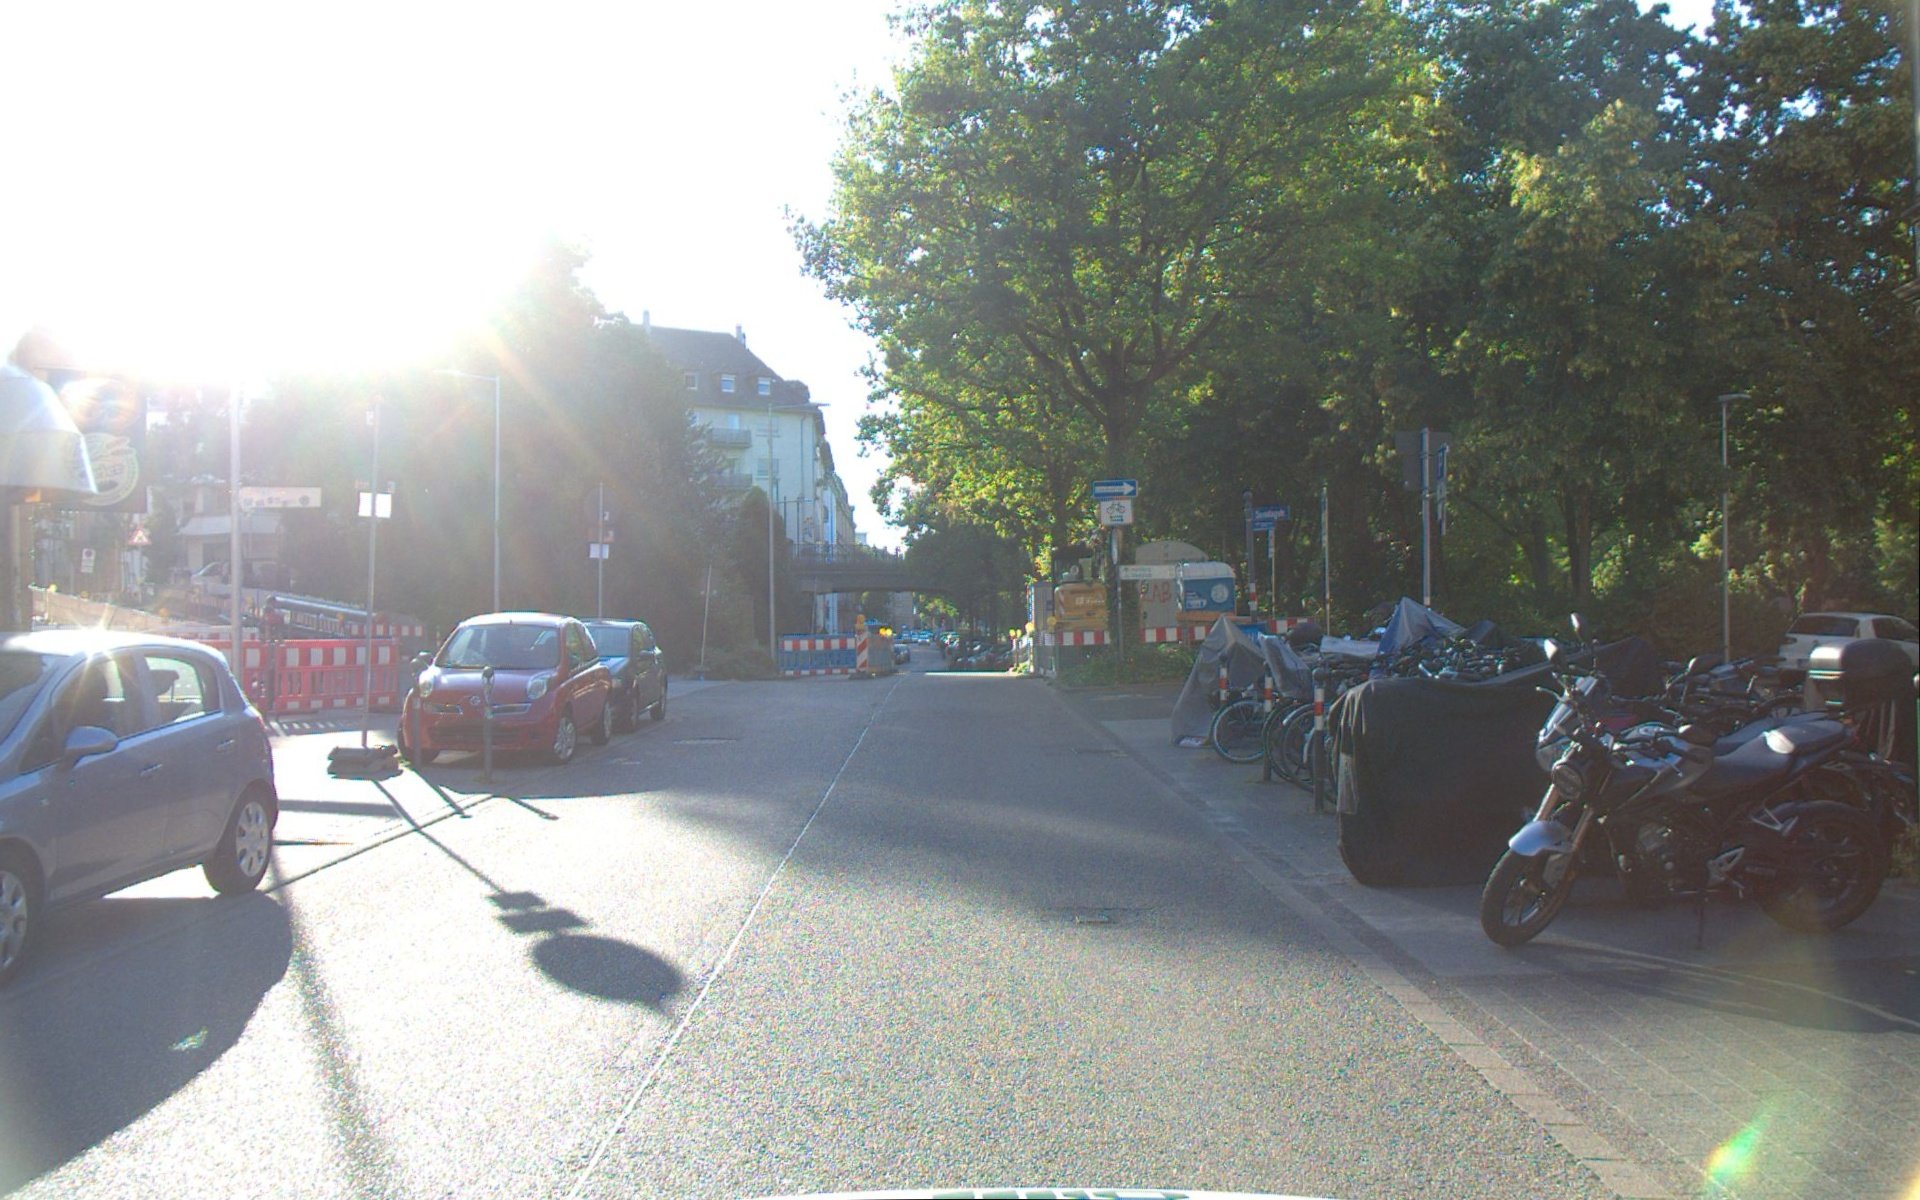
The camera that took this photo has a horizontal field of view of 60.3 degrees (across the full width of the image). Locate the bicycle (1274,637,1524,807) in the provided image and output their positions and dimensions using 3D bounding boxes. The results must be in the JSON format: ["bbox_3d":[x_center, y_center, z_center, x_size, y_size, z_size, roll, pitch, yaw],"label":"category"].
[{"bbox_3d":[3.406,0.935,12.845,1.887,1.268,0.302,-1,-1,-7],"label":"bicycle"}]

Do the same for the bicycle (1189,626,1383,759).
[{"bbox_3d":[3.237,0.906,16.431,1.887,1.268,0.302,-1,-1,-7],"label":"bicycle"}]

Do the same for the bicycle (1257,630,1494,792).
[{"bbox_3d":[3.392,0.892,13.524,1.887,1.268,0.302,-1,-1,-7],"label":"bicycle"}]

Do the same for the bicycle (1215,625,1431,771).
[{"bbox_3d":[3.256,0.868,14.843,1.887,1.268,0.302,-1,-1,-7],"label":"bicycle"}]

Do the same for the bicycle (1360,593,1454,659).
[{"bbox_3d":[9.390,0.534,34.839,1.006,1.308,2.140,-2,0,-13],"label":"bicycle"}]

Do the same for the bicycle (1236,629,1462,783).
[{"bbox_3d":[3.332,0.898,14.190,1.887,1.268,0.302,-1,-1,-7],"label":"bicycle"}]

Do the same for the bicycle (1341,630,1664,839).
[{"bbox_3d":[3.503,0.845,10.737,1.887,1.268,0.647,-1,0,-7],"label":"bicycle"}]

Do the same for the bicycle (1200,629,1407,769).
[{"bbox_3d":[3.223,0.918,15.529,1.887,1.268,0.302,-1,-1,-7],"label":"bicycle"}]

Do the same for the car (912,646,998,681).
[{"bbox_3d":[-0.291,3.243,84.156,4.300,1.732,1.915,1,-4,-3],"label":"car"}]

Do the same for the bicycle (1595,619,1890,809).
[{"bbox_3d":[5.469,0.777,11.586,1.887,1.268,0.479,-1,0,-7],"label":"bicycle"}]

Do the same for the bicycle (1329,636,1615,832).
[{"bbox_3d":[3.474,0.893,11.236,1.887,1.268,0.302,-1,-1,-7],"label":"bicycle"}]

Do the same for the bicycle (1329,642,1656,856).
[{"bbox_3d":[3.192,0.880,9.965,1.781,1.147,0.443,-3,0,-2],"label":"bicycle"}]

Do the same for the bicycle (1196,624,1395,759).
[{"bbox_3d":[3.268,0.881,16.112,1.887,1.268,0.302,-1,-1,-7],"label":"bicycle"}]

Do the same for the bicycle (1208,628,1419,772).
[{"bbox_3d":[3.243,0.905,15.181,1.887,1.268,0.302,-1,-1,-7],"label":"bicycle"}]

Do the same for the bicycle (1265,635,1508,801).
[{"bbox_3d":[3.401,0.930,13.192,1.887,1.268,0.302,-1,-1,-7],"label":"bicycle"}]

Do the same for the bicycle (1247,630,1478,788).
[{"bbox_3d":[3.372,0.901,13.861,1.887,1.268,0.302,-1,-1,-7],"label":"bicycle"}]

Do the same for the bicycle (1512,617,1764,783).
[{"bbox_3d":[5.379,0.778,13.144,1.887,1.268,0.395,-1,0,-7],"label":"bicycle"}]

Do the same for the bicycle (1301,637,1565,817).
[{"bbox_3d":[3.484,0.919,12.188,1.887,1.268,0.302,-1,-1,-7],"label":"bicycle"}]

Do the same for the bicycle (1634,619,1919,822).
[{"bbox_3d":[5.545,0.776,10.987,1.887,1.268,0.647,-1,0,-7],"label":"bicycle"}]

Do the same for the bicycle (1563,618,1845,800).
[{"bbox_3d":[5.427,0.778,12.089,1.887,1.268,0.479,-1,0,-7],"label":"bicycle"}]

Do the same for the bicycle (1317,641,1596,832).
[{"bbox_3d":[3.460,0.938,11.543,1.887,1.268,0.302,-1,-1,-7],"label":"bicycle"}]

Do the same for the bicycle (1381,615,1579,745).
[{"bbox_3d":[5.276,0.803,16.807,1.887,1.268,0.452,-1,0,-7],"label":"bicycle"}]

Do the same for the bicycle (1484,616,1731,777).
[{"bbox_3d":[5.346,0.779,13.676,1.887,1.268,0.479,-1,0,-7],"label":"bicycle"}]

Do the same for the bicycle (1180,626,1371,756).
[{"bbox_3d":[3.193,0.908,16.769,1.887,1.268,0.302,-1,-1,-7],"label":"bicycle"}]

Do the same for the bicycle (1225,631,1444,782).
[{"bbox_3d":[3.280,0.921,14.504,1.869,1.268,0.302,-1,-1,-7],"label":"bicycle"}]

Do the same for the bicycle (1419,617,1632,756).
[{"bbox_3d":[5.375,0.811,15.754,1.887,1.268,0.479,-1,0,-7],"label":"bicycle"}]

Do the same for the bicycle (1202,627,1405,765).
[{"bbox_3d":[3.276,0.907,15.774,1.887,1.268,0.302,-1,-1,-7],"label":"bicycle"}]

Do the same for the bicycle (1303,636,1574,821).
[{"bbox_3d":[3.434,0.906,11.872,1.887,1.268,0.302,-1,-1,-7],"label":"bicycle"}]

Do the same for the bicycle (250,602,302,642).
[{"bbox_3d":[-17.561,0.561,42.440,0.797,0.985,2.081,0,-1,-36],"label":"bicycle"}]

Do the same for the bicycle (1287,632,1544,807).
[{"bbox_3d":[3.447,0.891,12.523,1.887,1.268,0.302,-1,-1,-7],"label":"bicycle"}]

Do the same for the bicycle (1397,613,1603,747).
[{"bbox_3d":[5.314,0.770,16.300,1.887,1.268,0.479,-1,0,-7],"label":"bicycle"}]

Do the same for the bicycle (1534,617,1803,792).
[{"bbox_3d":[5.391,0.778,12.602,1.887,1.268,0.479,-1,0,-7],"label":"bicycle"}]
